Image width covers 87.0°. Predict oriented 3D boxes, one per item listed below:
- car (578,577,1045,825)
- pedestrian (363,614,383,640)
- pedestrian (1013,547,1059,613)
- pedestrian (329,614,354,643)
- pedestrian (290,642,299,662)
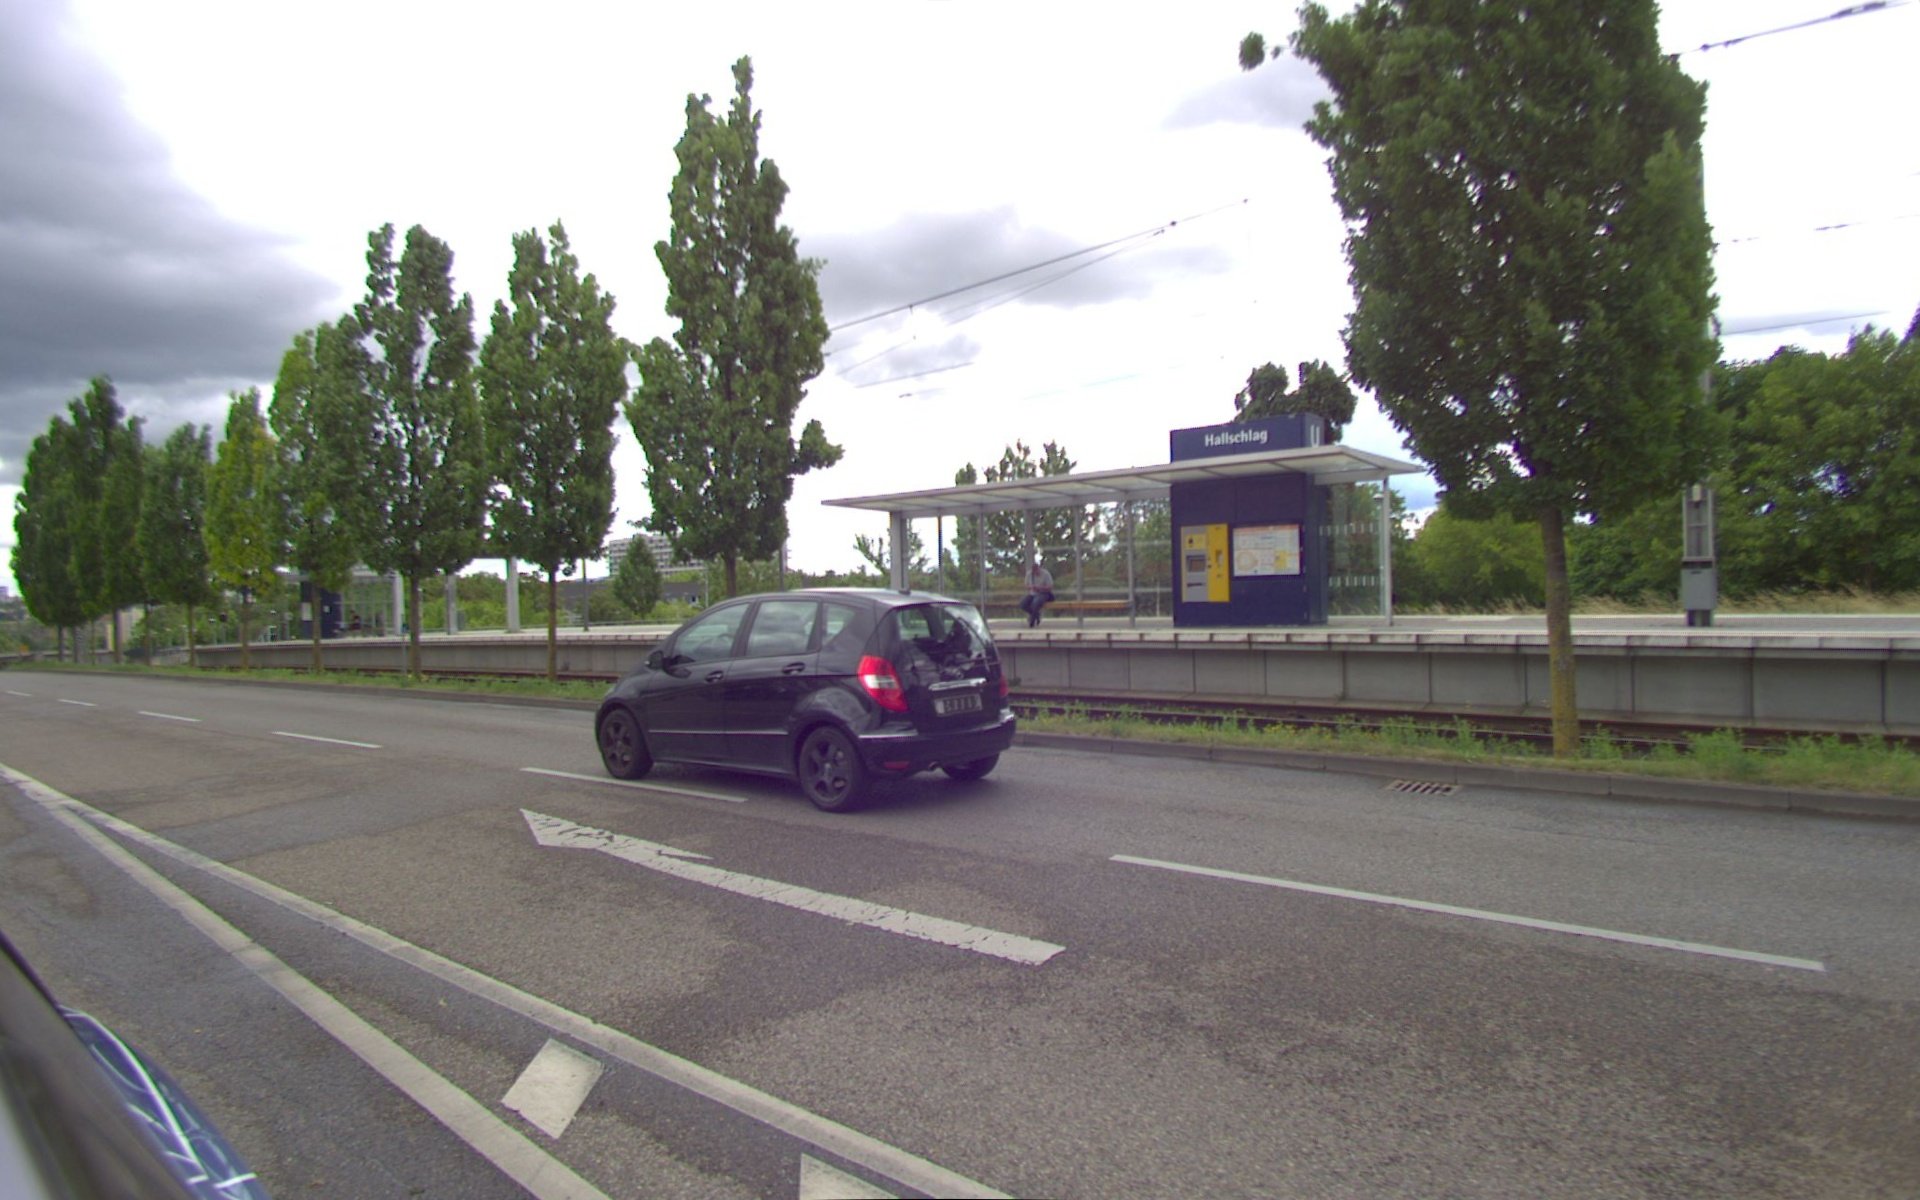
[{"bbox_3d":[-1.332,0.669,8.301,3.702,1.585,1.709,-1,0,38],"label":"car"},{"bbox_3d":[-25.335,1.165,43.654,0.470,1.087,0.601,-4,-3,41],"label":"pedestrian"},{"bbox_3d":[1.558,-0.403,20.708,0.658,1.279,0.604,-5,-2,36],"label":"pedestrian"},{"bbox_3d":[-26.663,1.225,43.613,0.665,1.208,0.753,-3,-2,41],"label":"pedestrian"},{"bbox_3d":[-53.923,4.203,81.986,0.501,1.637,0.646,0,-3,-44],"label":"pedestrian"}]
